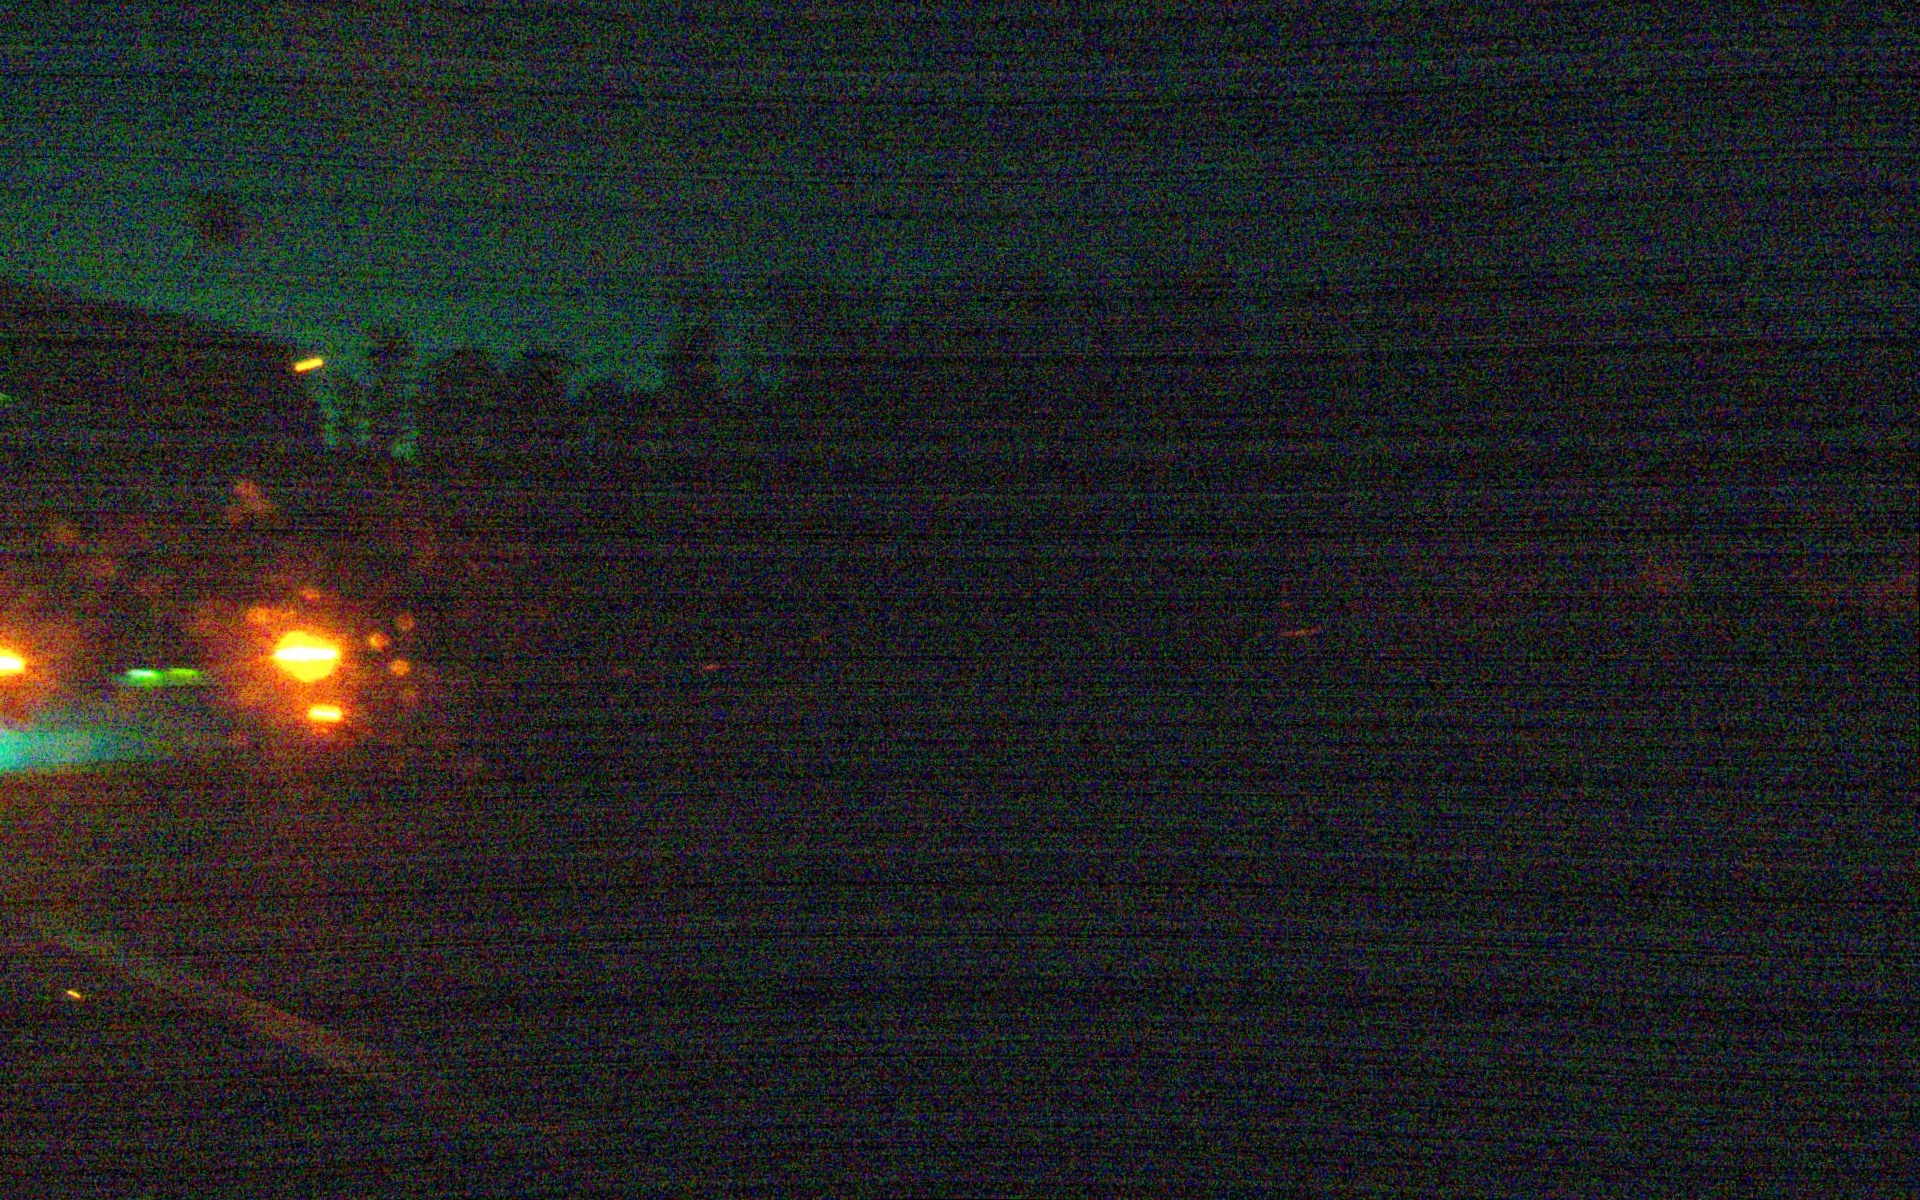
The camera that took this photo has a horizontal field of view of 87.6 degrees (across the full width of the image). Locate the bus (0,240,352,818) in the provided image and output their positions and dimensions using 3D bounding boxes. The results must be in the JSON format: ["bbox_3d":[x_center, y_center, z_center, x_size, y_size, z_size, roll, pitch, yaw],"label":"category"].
[{"bbox_3d":[-12.321,-0.304,11.733,14.492,4.044,2.648,-1,-2,32],"label":"bus"}]
